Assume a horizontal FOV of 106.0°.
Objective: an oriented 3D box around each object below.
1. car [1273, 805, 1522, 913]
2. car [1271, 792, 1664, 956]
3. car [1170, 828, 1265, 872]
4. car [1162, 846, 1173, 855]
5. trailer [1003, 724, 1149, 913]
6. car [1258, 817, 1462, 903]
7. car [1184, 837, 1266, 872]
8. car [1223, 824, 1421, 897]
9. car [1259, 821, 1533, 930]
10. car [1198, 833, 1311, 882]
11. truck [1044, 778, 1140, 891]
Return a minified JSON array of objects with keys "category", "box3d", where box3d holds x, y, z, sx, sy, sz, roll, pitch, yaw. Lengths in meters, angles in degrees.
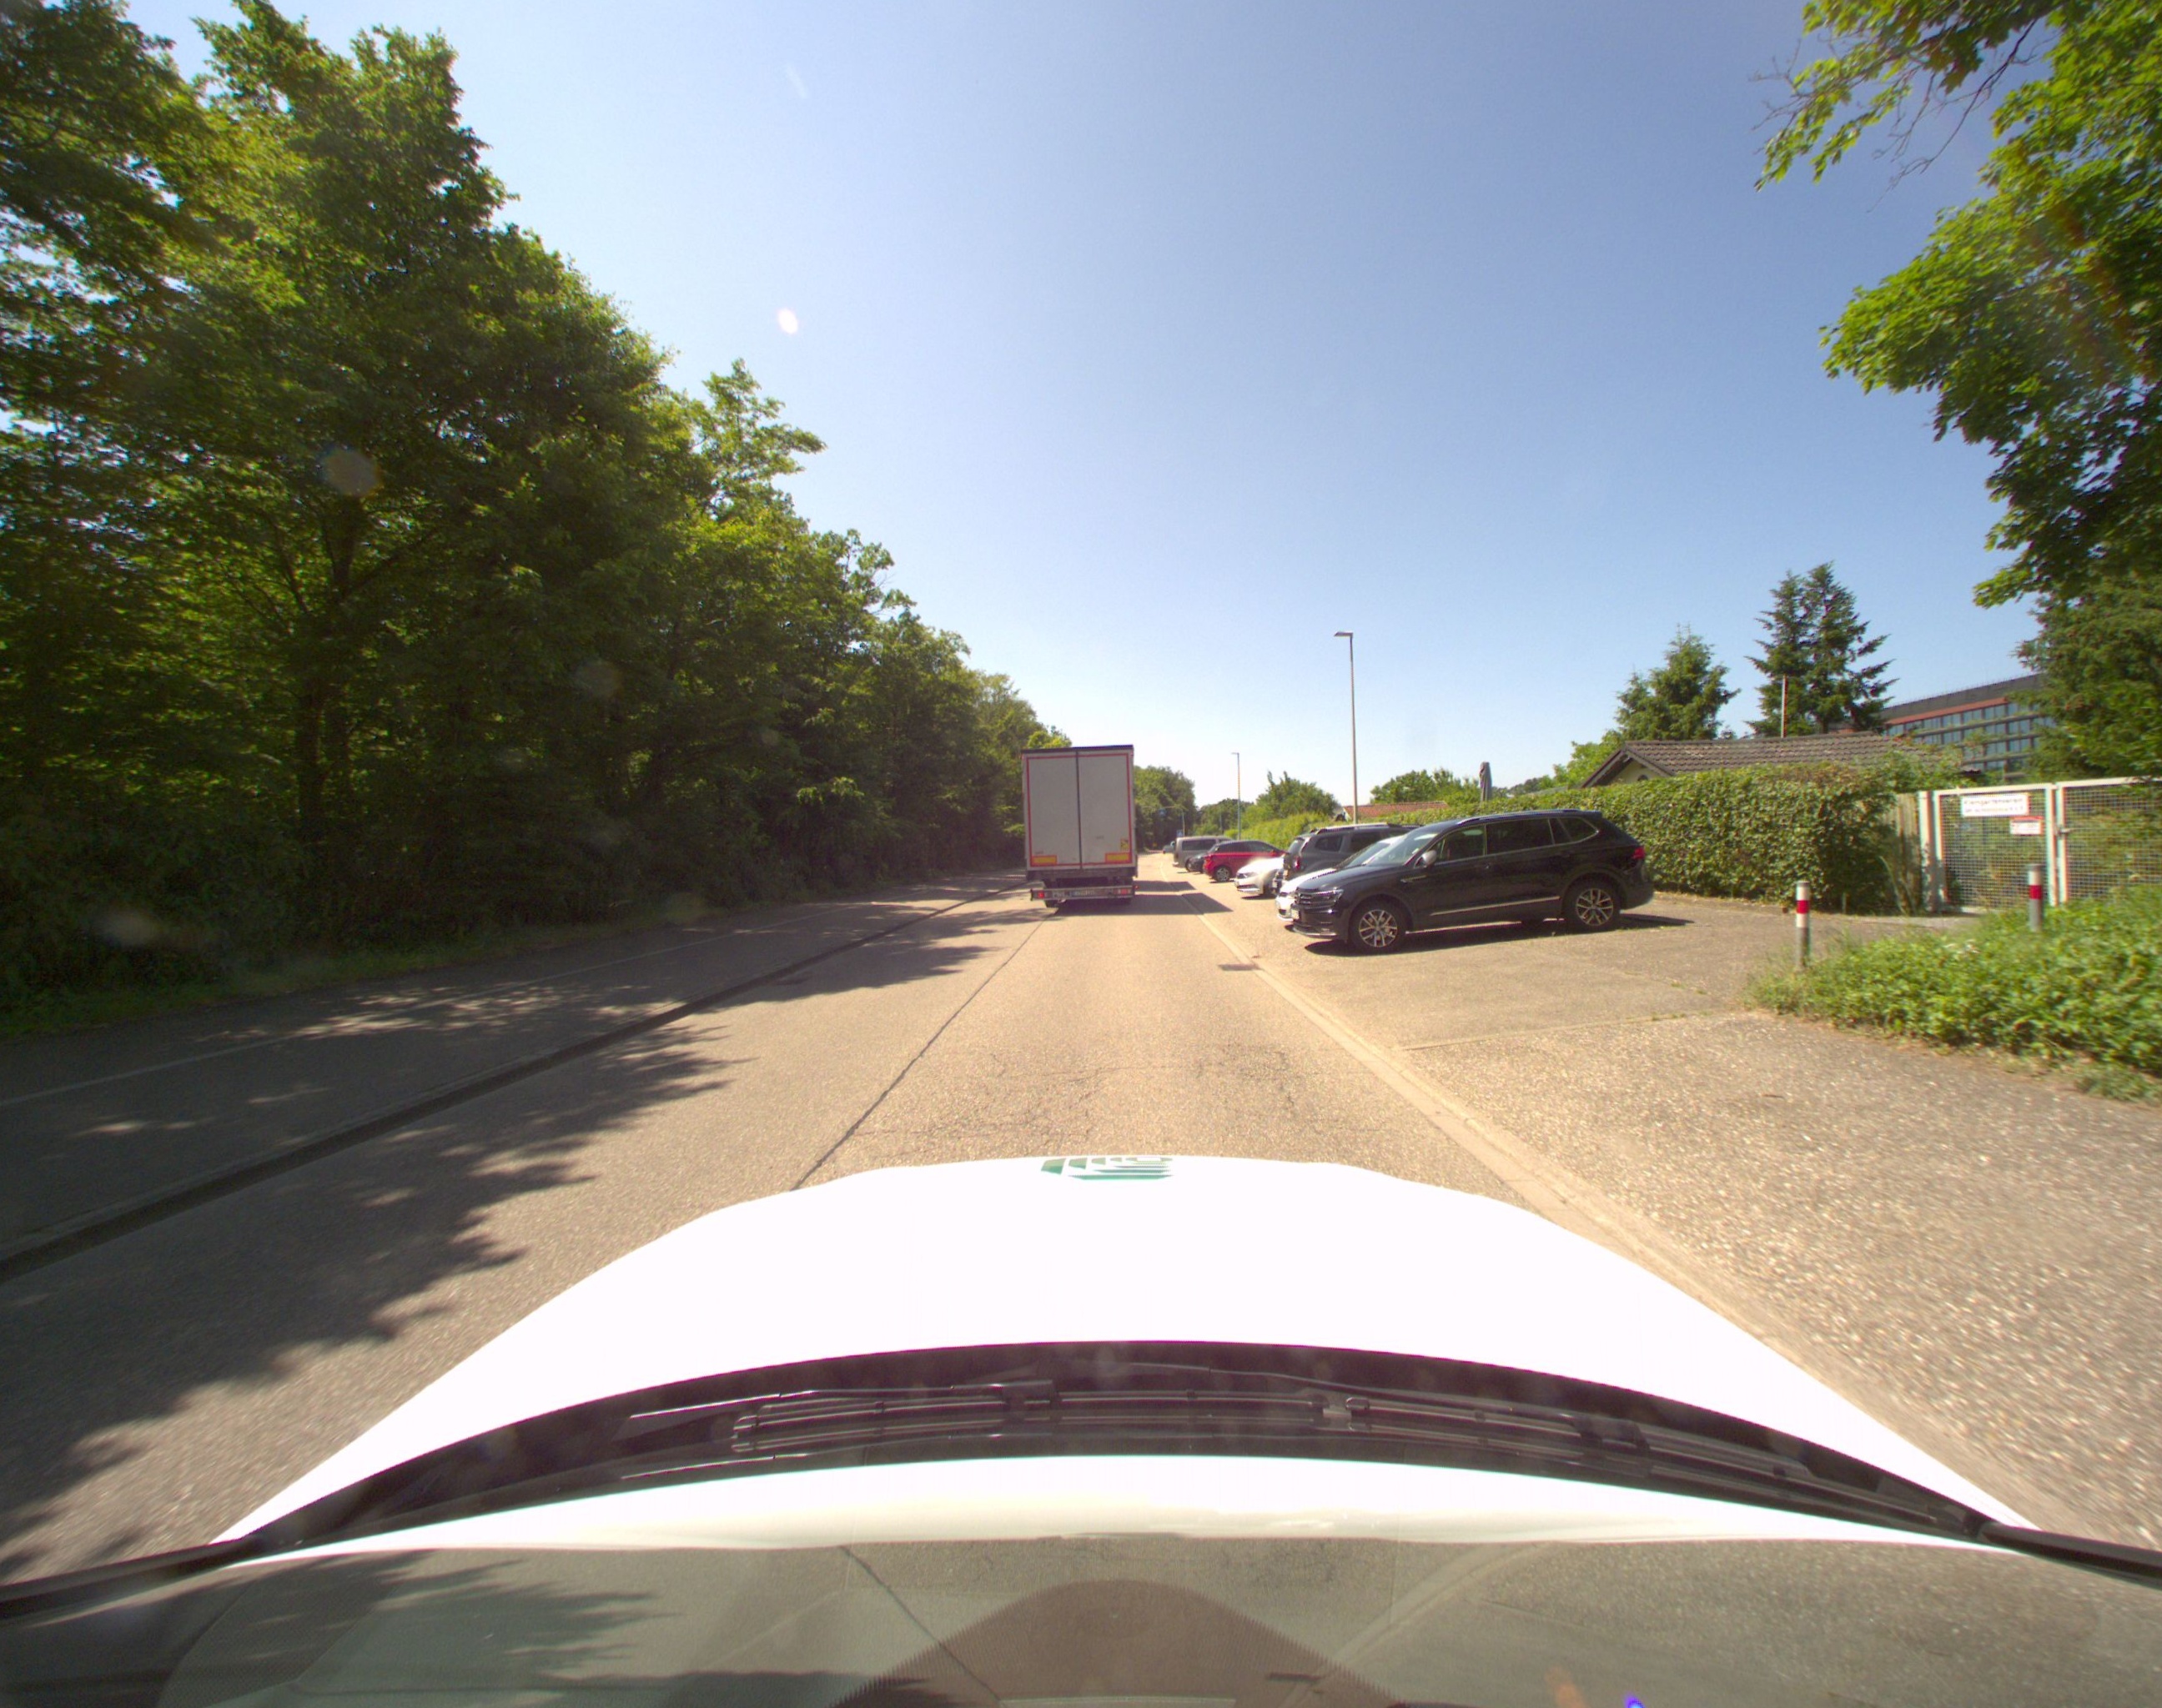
[{"category":"car","box3d":[6.215,0.086,16.430,4.238,1.698,1.856,-5,0,4]},{"category":"car","box3d":[5.145,0.245,11.329,4.455,1.704,1.914,-5,0,1]},{"category":"car","box3d":[7.070,-0.234,42.523,4.599,1.848,1.998,-5,0,4]},{"category":"car","box3d":[13.869,-0.580,130.959,1.772,1.486,4.007,-1,1,6]},{"category":"trailer","box3d":[0.172,-0.860,23.990,3.100,4.102,11.545,-2,0,3]},{"category":"car","box3d":[6.344,0.126,18.851,4.035,1.548,1.758,-5,0,1]},{"category":"car","box3d":[6.920,0.013,39.415,3.565,1.502,1.841,-3,0,-1]},{"category":"car","box3d":[6.192,0.153,21.321,4.543,1.439,1.961,-5,0,0]},{"category":"car","box3d":[5.252,0.340,14.029,3.979,1.452,1.834,-5,0,4]},{"category":"car","box3d":[6.494,0.112,30.819,3.902,1.478,1.847,-5,0,4]},{"category":"truck","box3d":[0.564,-0.697,30.882,3.100,3.725,6.420,-2,0,3]}]
